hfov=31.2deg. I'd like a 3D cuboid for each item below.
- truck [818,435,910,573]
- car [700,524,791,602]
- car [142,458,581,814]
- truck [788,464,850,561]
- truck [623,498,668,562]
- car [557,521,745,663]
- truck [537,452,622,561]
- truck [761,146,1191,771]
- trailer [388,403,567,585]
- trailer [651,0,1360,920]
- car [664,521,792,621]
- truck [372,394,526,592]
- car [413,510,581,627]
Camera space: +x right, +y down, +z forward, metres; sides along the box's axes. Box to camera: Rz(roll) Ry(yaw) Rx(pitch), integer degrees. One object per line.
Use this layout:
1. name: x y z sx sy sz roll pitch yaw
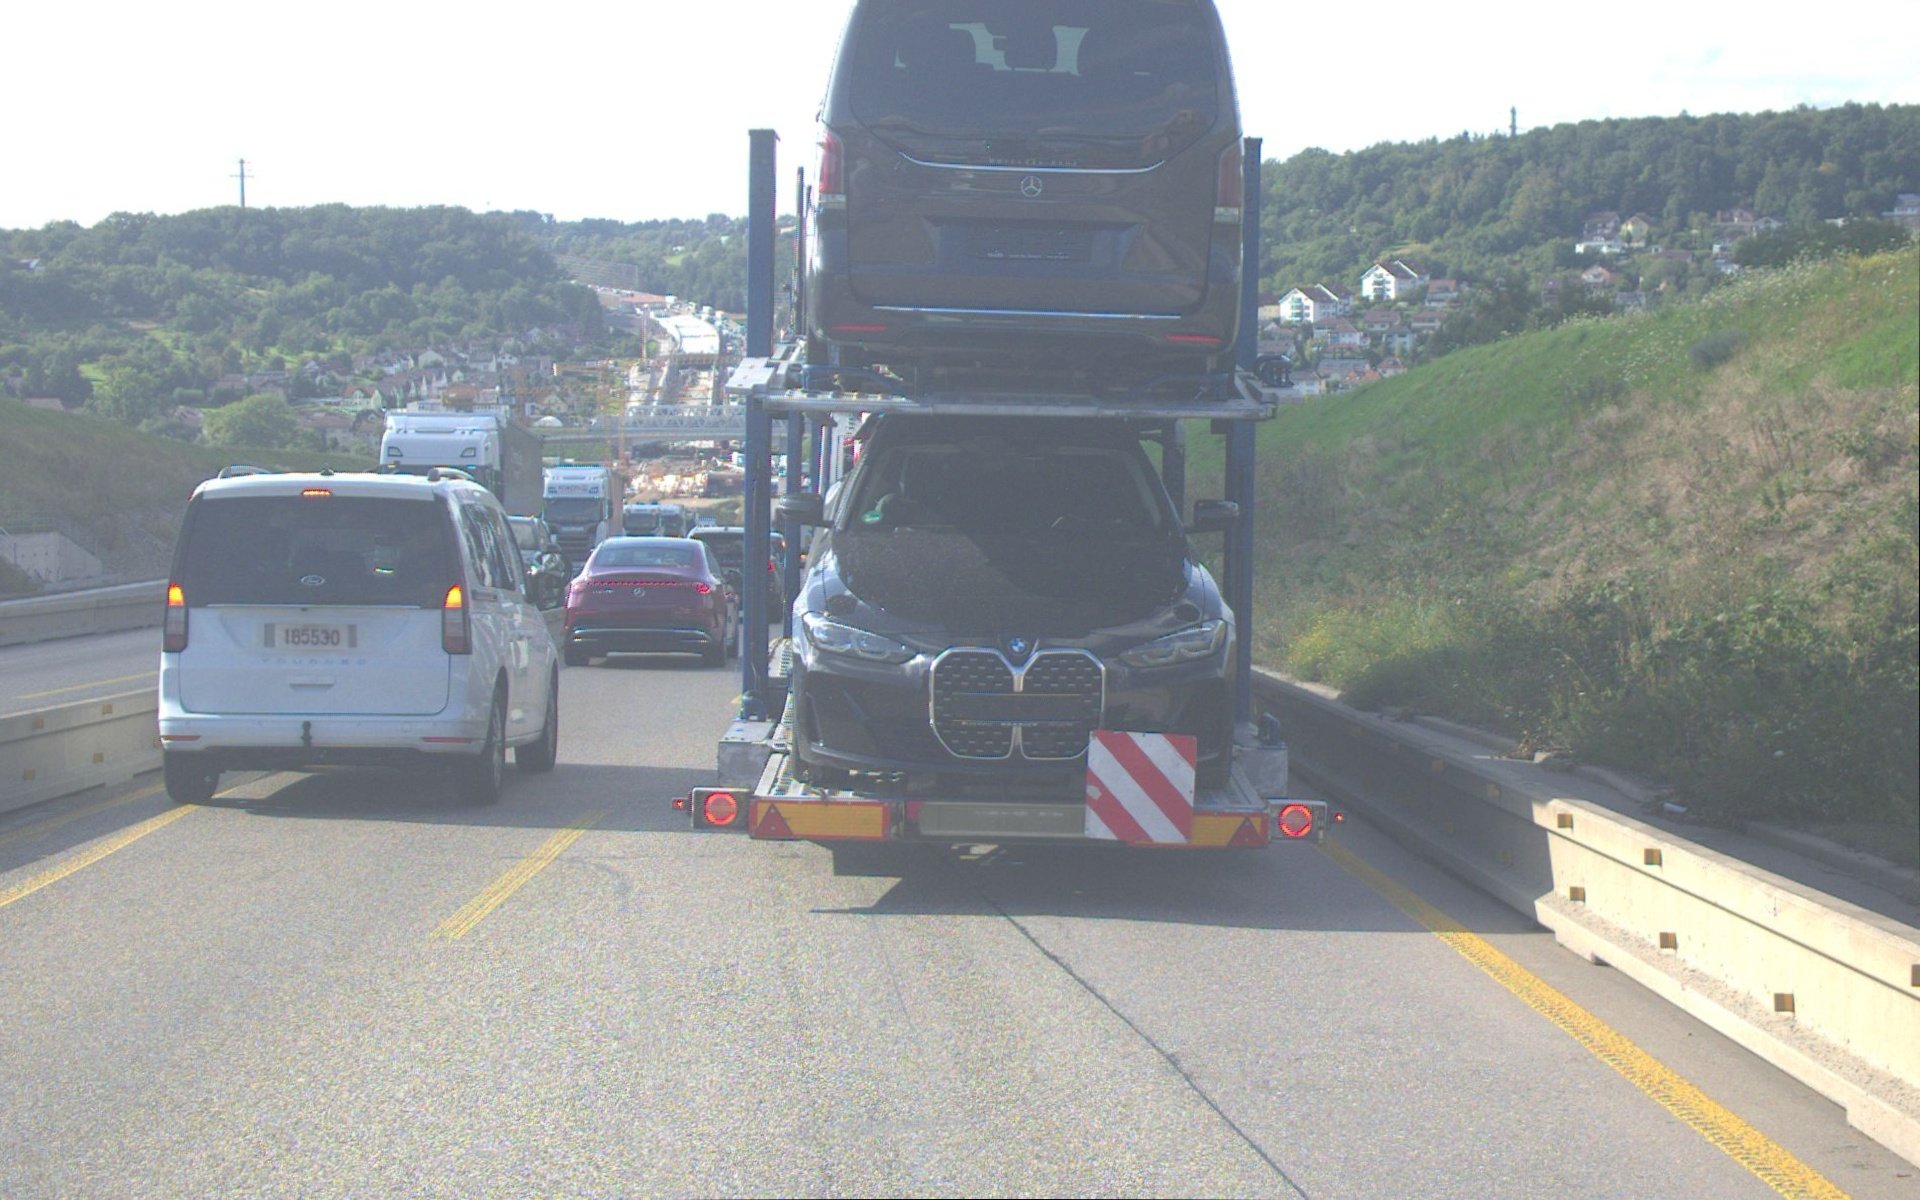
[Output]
1. truck: -3.438 -3.303 119.927 2.863 4.555 11.660 0 1 -3
2. car: -4.518 -0.804 72.900 1.796 1.591 4.743 0 1 -2
3. car: -3.378 0.126 20.216 1.823 1.817 4.456 1 2 -1
4. truck: -6.966 -4.278 168.682 2.863 4.555 11.660 0 1 -3
5. truck: -20.406 -4.564 223.328 2.638 4.085 10.820 0 1 -4
6. car: -3.546 -0.144 40.188 1.823 1.487 4.685 1 2 -1
7. truck: -14.795 -3.610 134.287 2.638 4.085 10.820 0 1 -3
8. truck: 0.074 -0.951 24.599 2.678 3.908 6.028 0 1 0
9. trailer: -11.266 -2.455 81.565 2.614 3.940 13.875 0 1 -1
10. trailer: 0.084 -0.902 18.907 2.708 4.015 11.420 0 1 -1
11. car: -3.965 -0.531 59.350 1.993 1.619 4.751 1 1 -2
12. truck: -11.074 -2.303 74.928 2.614 4.139 5.782 0 1 -1
13. car: -7.411 -0.560 55.509 1.948 1.740 5.579 1 2 0
